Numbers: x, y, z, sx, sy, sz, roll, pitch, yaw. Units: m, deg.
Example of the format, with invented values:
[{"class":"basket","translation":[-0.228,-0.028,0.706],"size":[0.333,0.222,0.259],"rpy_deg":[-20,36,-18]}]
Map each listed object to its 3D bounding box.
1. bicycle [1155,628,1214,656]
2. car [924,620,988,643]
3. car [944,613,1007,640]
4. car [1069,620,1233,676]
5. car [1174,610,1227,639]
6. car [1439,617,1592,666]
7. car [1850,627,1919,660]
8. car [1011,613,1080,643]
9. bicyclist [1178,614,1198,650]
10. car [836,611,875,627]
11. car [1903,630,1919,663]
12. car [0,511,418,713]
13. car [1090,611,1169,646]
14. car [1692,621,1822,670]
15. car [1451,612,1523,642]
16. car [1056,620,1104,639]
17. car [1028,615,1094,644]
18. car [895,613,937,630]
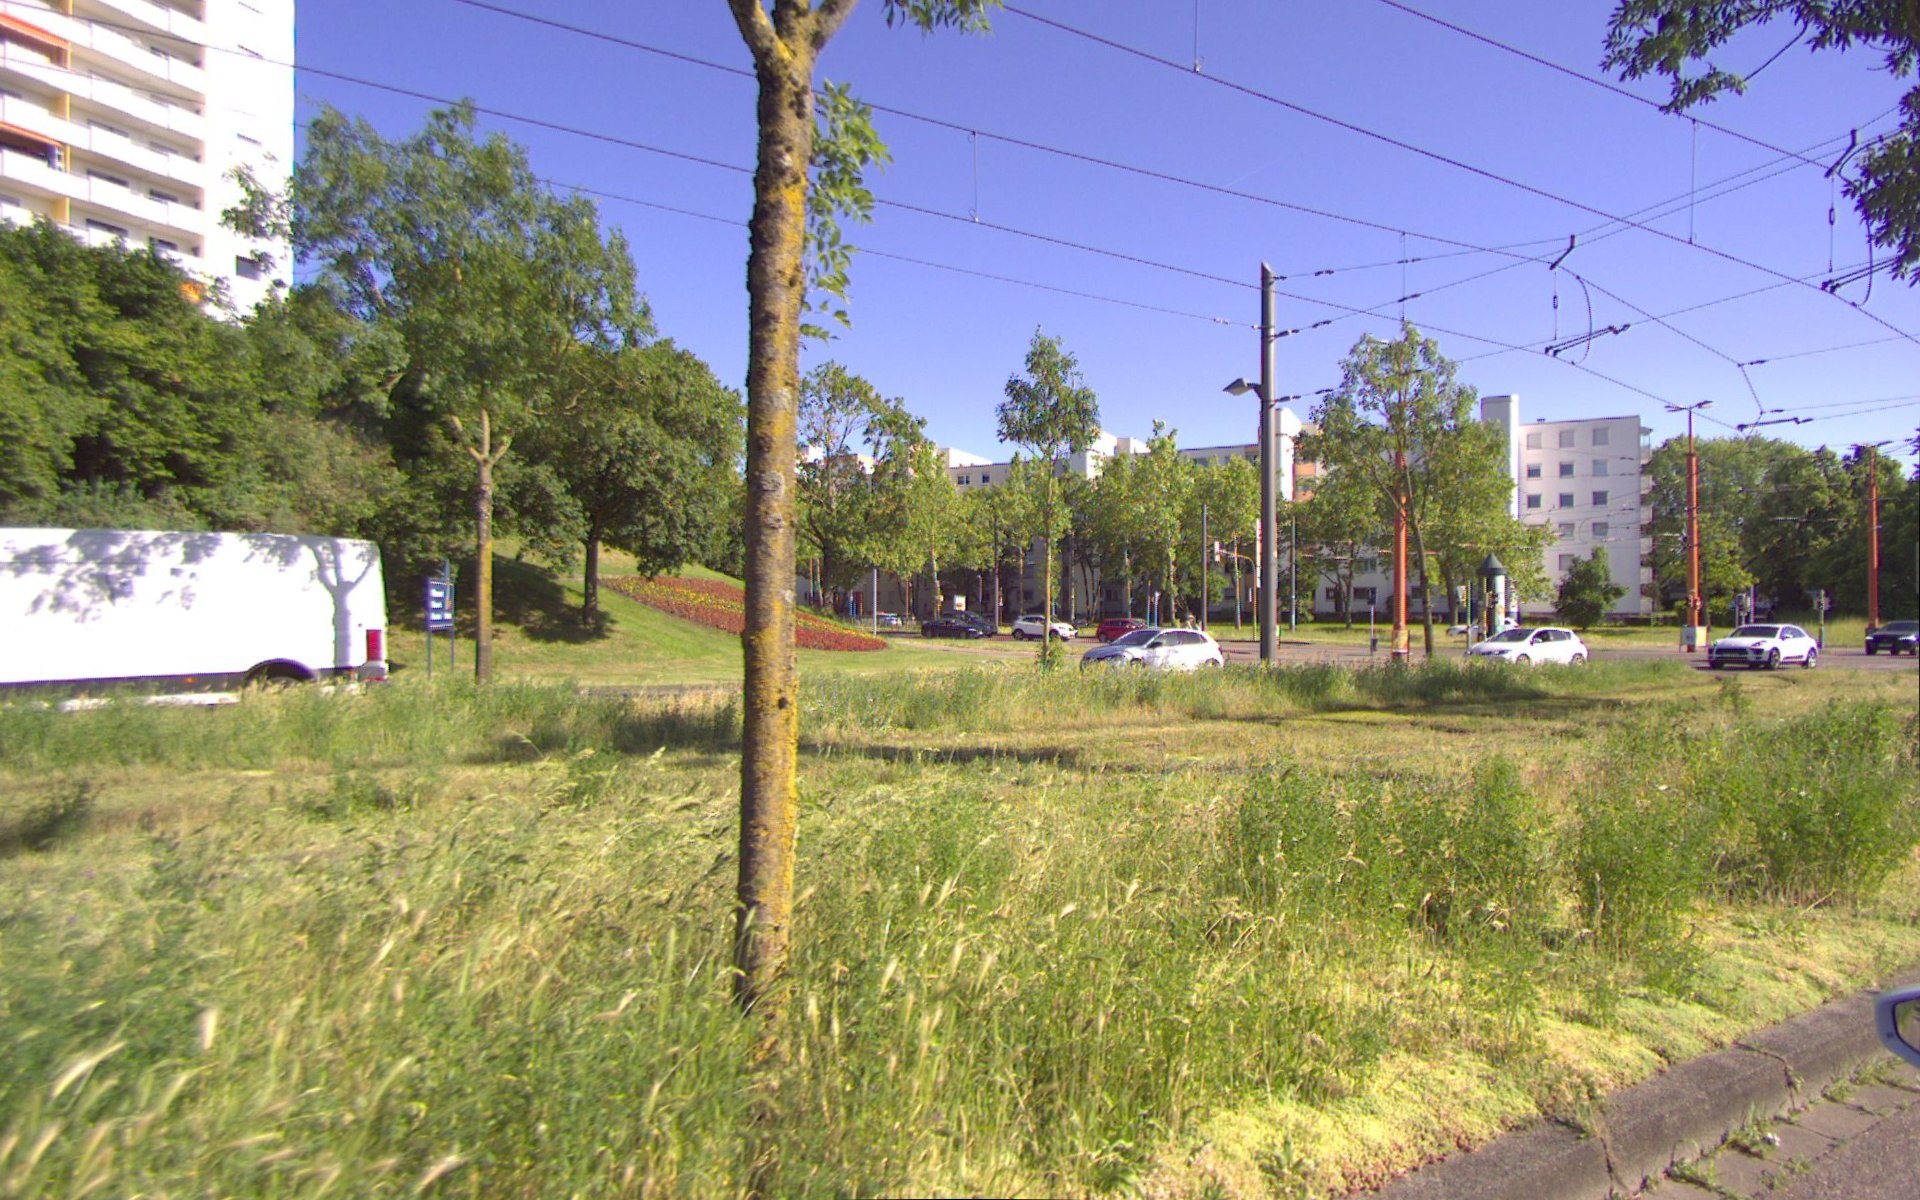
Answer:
[{"class":"bicycle","translation":[9.207,1.711,41.176],"size":[2.313,1.095,0.474],"rpy_deg":[1,0,14]},{"class":"car","translation":[-0.264,2.099,67.552],"size":[3.929,1.340,1.732],"rpy_deg":[1,0,31]},{"class":"car","translation":[1.052,1.819,69.769],"size":[3.929,1.773,1.909],"rpy_deg":[1,0,31]},{"class":"car","translation":[4.964,1.217,26.073],"size":[3.951,1.310,1.790],"rpy_deg":[1,0,-29]},{"class":"car","translation":[20.349,2.100,84.900],"size":[3.934,2.341,1.889],"rpy_deg":[1,0,-16]},{"class":"car","translation":[17.502,1.288,31.639],"size":[4.480,1.416,1.894],"rpy_deg":[1,0,-24]},{"class":"car","translation":[45.866,2.129,49.183],"size":[4.574,1.500,1.985],"rpy_deg":[1,0,-29]},{"class":"car","translation":[5.417,1.755,63.878],"size":[3.929,1.773,1.909],"rpy_deg":[1,0,31]},{"class":"bicyclist","translation":[9.329,1.310,41.132],"size":[0.742,1.449,0.752],"rpy_deg":[1,0,14]},{"class":"car","translation":[-11.161,2.048,107.169],"size":[3.934,1.617,1.889],"rpy_deg":[1,0,-16]},{"class":"car","translation":[43.986,2.081,44.328],"size":[4.927,1.428,1.985],"rpy_deg":[1,0,-28]},{"class":"car","translation":[-11.082,0.160,13.313],"size":[6.800,2.400,2.029],"rpy_deg":[1,0,-31]},{"class":"car","translation":[10.140,1.660,60.200],"size":[4.199,1.926,1.996],"rpy_deg":[1,0,31]},{"class":"car","translation":[28.744,1.624,36.217],"size":[4.596,1.643,1.888],"rpy_deg":[1,0,-27]},{"class":"car","translation":[37.179,1.904,70.972],"size":[4.323,2.040,1.999],"rpy_deg":[0,-1,23]},{"class":"car","translation":[10.942,2.678,92.009],"size":[3.934,1.617,1.889],"rpy_deg":[1,0,-16]},{"class":"car","translation":[6.674,1.927,66.630],"size":[3.929,1.773,1.909],"rpy_deg":[1,0,31]},{"class":"car","translation":[-4.553,2.174,103.379],"size":[3.934,1.617,1.889],"rpy_deg":[1,0,-16]}]
